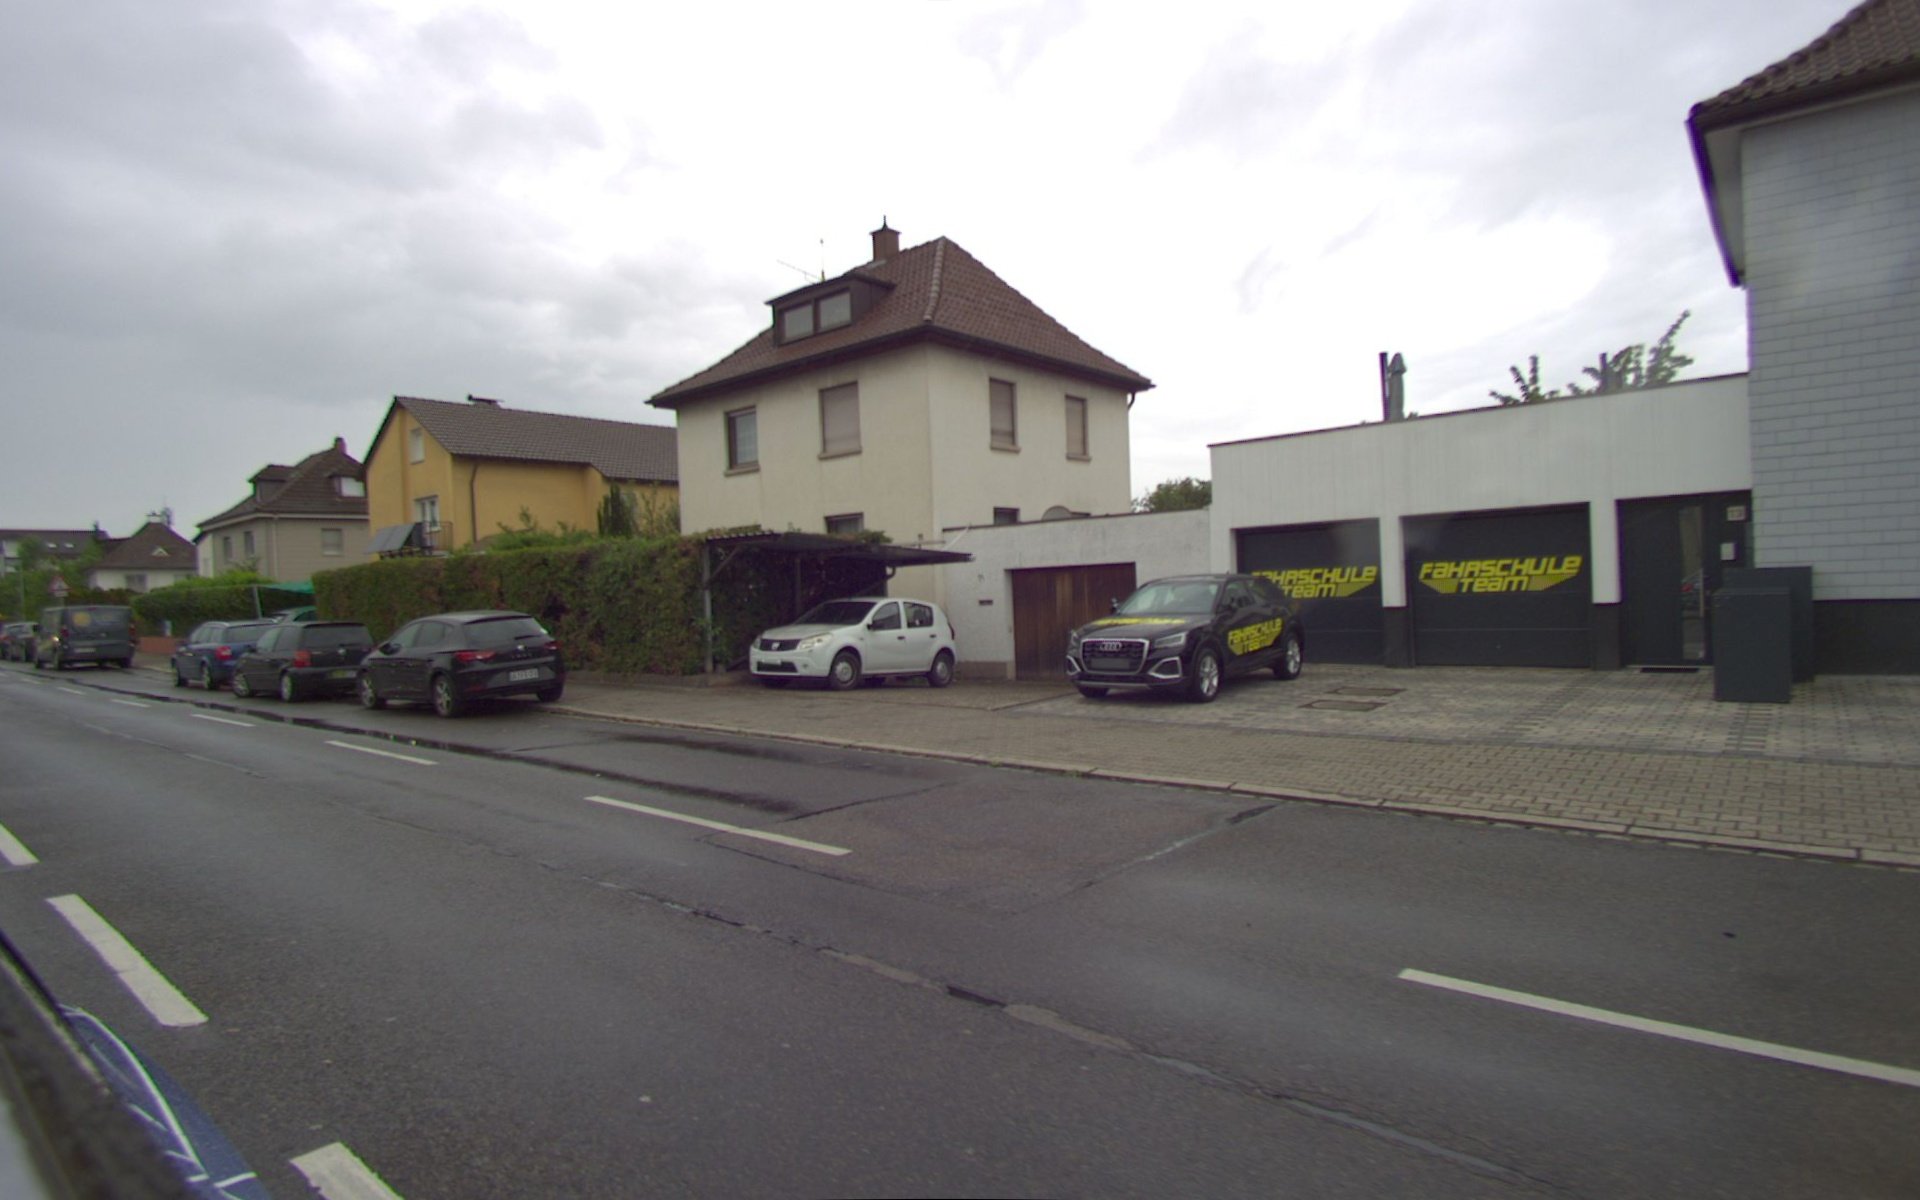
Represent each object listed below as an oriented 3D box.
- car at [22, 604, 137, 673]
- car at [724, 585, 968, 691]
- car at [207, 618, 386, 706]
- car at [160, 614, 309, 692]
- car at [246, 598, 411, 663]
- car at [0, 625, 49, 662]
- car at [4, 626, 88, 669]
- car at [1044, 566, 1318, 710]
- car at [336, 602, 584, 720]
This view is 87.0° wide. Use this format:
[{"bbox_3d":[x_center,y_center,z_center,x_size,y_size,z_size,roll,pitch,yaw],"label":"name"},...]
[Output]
[{"bbox_3d":[-28.421,1.203,32.620,5.081,2.018,1.894,-1,0,39],"label":"car"},{"bbox_3d":[-1.750,0.666,16.753,1.852,1.527,3.951,-1,-4,36],"label":"car"},{"bbox_3d":[-12.534,1.104,19.035,4.007,1.442,1.537,-1,0,37],"label":"car"},{"bbox_3d":[-16.389,1.129,22.775,4.284,1.544,1.739,-1,0,41],"label":"car"},{"bbox_3d":[-19.753,0.908,31.777,1.917,1.625,3.920,-1,3,41],"label":"car"},{"bbox_3d":[-40.765,1.840,43.593,4.127,1.450,1.732,-1,0,41],"label":"car"},{"bbox_3d":[-35.707,1.807,39.496,4.522,1.528,1.733,-1,0,39],"label":"car"},{"bbox_3d":[3.030,0.382,13.295,1.854,1.527,3.947,-1,1,40],"label":"car"},{"bbox_3d":[-7.754,0.858,15.551,4.202,1.544,1.741,-1,0,38],"label":"car"}]
